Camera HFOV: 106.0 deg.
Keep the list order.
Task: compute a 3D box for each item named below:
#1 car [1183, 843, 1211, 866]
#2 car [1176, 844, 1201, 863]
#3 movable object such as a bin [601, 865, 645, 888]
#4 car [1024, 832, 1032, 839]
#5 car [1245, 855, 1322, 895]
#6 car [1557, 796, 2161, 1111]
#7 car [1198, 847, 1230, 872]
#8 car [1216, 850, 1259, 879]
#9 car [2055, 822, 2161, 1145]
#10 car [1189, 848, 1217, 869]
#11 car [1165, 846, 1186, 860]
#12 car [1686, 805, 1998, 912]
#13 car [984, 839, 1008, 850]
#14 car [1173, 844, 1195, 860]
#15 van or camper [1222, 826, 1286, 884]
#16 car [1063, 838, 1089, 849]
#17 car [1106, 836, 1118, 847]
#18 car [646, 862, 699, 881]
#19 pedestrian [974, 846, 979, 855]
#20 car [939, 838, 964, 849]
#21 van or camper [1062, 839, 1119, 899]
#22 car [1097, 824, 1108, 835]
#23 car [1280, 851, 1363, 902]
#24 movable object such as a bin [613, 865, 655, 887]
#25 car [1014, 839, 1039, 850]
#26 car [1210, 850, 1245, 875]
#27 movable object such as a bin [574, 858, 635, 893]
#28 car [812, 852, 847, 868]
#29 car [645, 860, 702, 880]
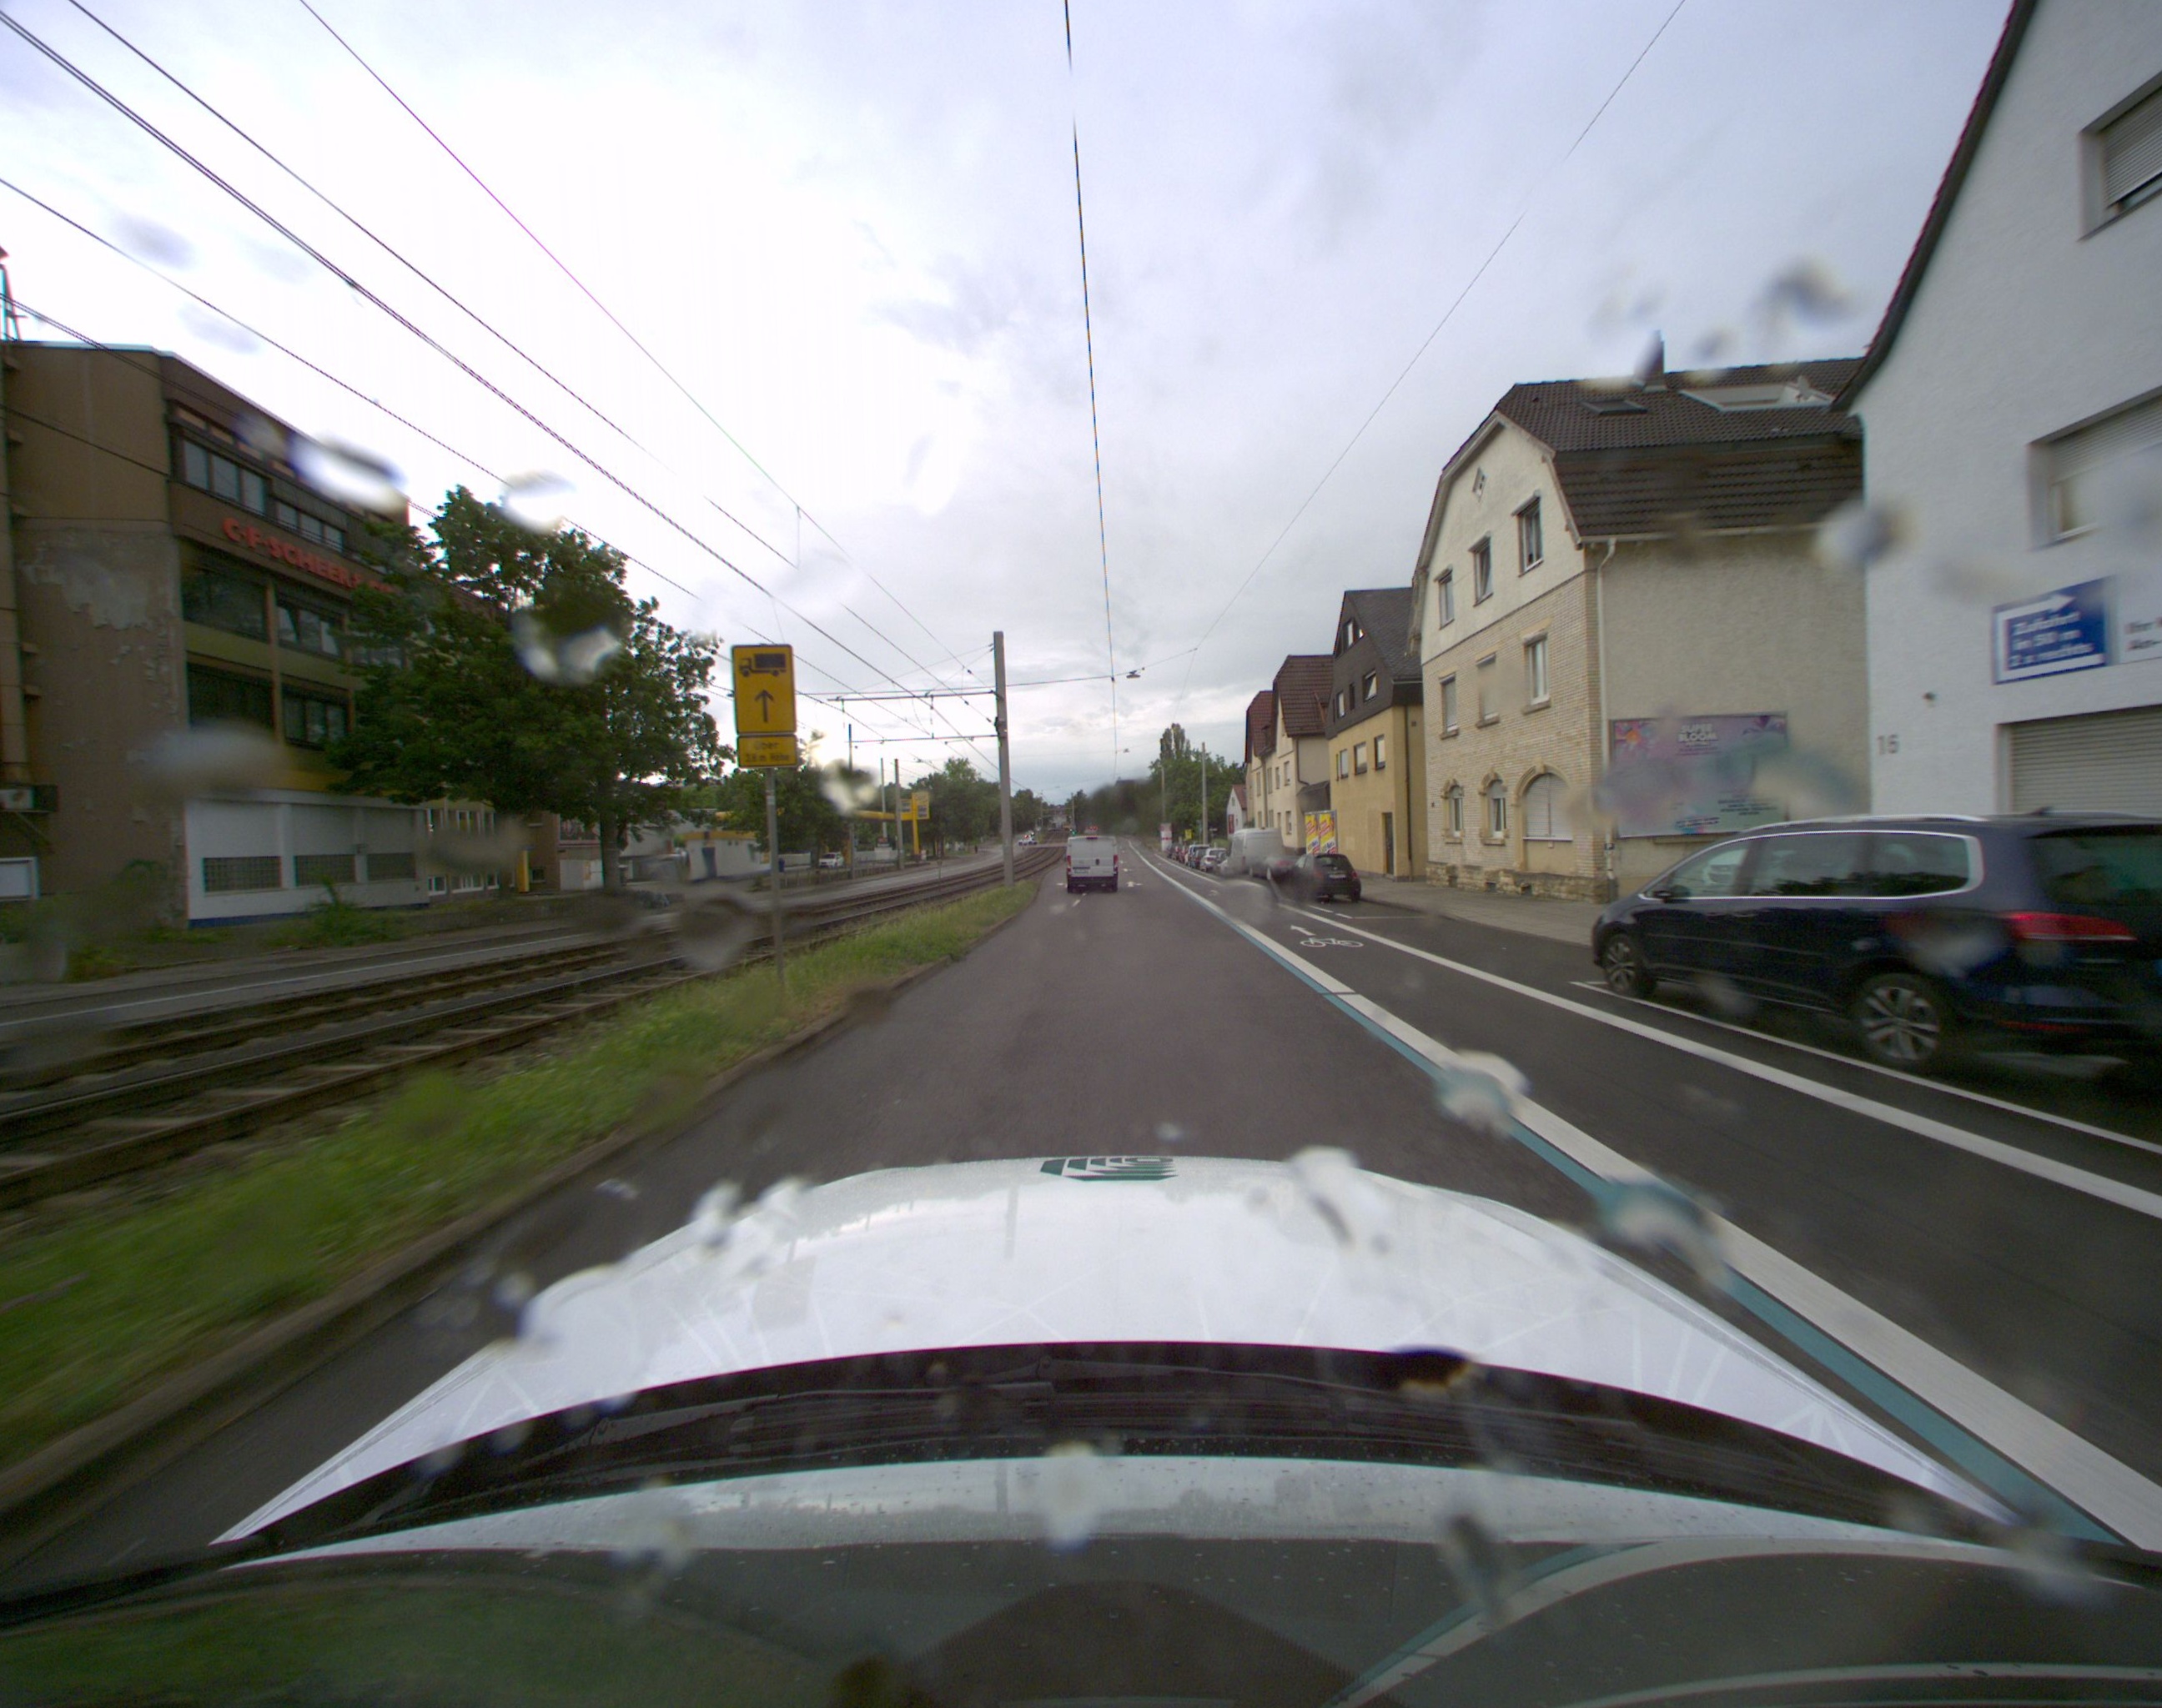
[{"bbox_3d":[9.365,0.023,65.855,1.741,1.807,3.955,-1,1,1],"label":"car"},{"bbox_3d":[10.012,-0.094,75.805,1.841,1.645,3.955,-1,1,1],"label":"car"},{"bbox_3d":[-29.230,1.450,51.971,1.993,1.375,1.565,0,1,-9],"label":"movable object such as a bin"},{"bbox_3d":[-13.765,-4.689,211.318,1.684,1.711,3.777,0,0,0],"label":"car"},{"bbox_3d":[7.805,0.761,31.798,1.783,1.406,4.550,0,1,-1],"label":"car"},{"bbox_3d":[6.292,0.564,6.987,1.832,1.800,4.689,0,0,2],"label":"car"},{"bbox_3d":[8.933,0.345,54.849,1.640,1.615,4.106,0,1,2],"label":"car"},{"bbox_3d":[8.544,0.544,44.750,1.702,1.446,4.043,0,1,2],"label":"car"},{"bbox_3d":[5.909,0.622,2.238,1.627,1.538,4.137,0,0,2],"label":"car"},{"bbox_3d":[9.007,0.323,60.471,1.640,1.445,3.956,0,1,2],"label":"car"},{"bbox_3d":[10.342,-0.136,89.309,1.841,1.499,3.955,-1,0,1],"label":"car"},{"bbox_3d":[13.814,0.066,14.975,3.974,1.653,1.870,-3,1,0],"label":"car"},{"bbox_3d":[-17.240,-1.906,164.651,4.473,2.013,2.011,0,0,23],"label":"car"},{"bbox_3d":[10.531,-0.218,83.396,1.841,1.499,3.955,-1,0,1],"label":"car"},{"bbox_3d":[8.159,-0.006,38.897,1.986,2.563,6.046,0,1,2],"label":"van or camper"},{"bbox_3d":[-0.956,-1.993,153.367,4.469,2.013,2.013,0,0,38],"label":"car"},{"bbox_3d":[5.635,-2.288,148.180,1.986,2.013,4.002,0,0,2],"label":"car"},{"bbox_3d":[-33.269,1.441,66.458,3.781,1.479,1.563,0,0,-24],"label":"car"},{"bbox_3d":[-16.796,-0.568,130.607,0.612,1.475,0.640,-2,0,-11],"label":"pedestrian"},{"bbox_3d":[-25.079,-1.984,157.799,4.495,2.013,2.001,0,0,2],"label":"car"},{"bbox_3d":[0.319,0.570,33.457,2.193,2.252,4.681,0,0,-1],"label":"van or camper"},{"bbox_3d":[4.310,-4.991,166.147,1.988,2.013,3.998,0,0,-1],"label":"car"},{"bbox_3d":[7.611,0.670,26.042,1.561,1.498,3.511,0,0,-1],"label":"car"},{"bbox_3d":[-29.655,1.455,54.033,1.993,1.375,1.565,0,1,-9],"label":"movable object such as a bin"},{"bbox_3d":[-11.106,-1.932,166.002,4.473,2.013,2.011,0,0,23],"label":"car"},{"bbox_3d":[8.918,0.489,49.771,1.619,1.448,3.711,0,1,3],"label":"car"},{"bbox_3d":[-28.770,1.234,49.263,1.993,1.919,3.561,0,1,-9],"label":"movable object such as a bin"},{"bbox_3d":[-23.598,0.516,76.477,1.987,1.442,3.999,0,0,0],"label":"car"},{"bbox_3d":[-30.935,1.184,61.910,3.781,1.454,1.540,-1,-1,-24],"label":"car"}]
